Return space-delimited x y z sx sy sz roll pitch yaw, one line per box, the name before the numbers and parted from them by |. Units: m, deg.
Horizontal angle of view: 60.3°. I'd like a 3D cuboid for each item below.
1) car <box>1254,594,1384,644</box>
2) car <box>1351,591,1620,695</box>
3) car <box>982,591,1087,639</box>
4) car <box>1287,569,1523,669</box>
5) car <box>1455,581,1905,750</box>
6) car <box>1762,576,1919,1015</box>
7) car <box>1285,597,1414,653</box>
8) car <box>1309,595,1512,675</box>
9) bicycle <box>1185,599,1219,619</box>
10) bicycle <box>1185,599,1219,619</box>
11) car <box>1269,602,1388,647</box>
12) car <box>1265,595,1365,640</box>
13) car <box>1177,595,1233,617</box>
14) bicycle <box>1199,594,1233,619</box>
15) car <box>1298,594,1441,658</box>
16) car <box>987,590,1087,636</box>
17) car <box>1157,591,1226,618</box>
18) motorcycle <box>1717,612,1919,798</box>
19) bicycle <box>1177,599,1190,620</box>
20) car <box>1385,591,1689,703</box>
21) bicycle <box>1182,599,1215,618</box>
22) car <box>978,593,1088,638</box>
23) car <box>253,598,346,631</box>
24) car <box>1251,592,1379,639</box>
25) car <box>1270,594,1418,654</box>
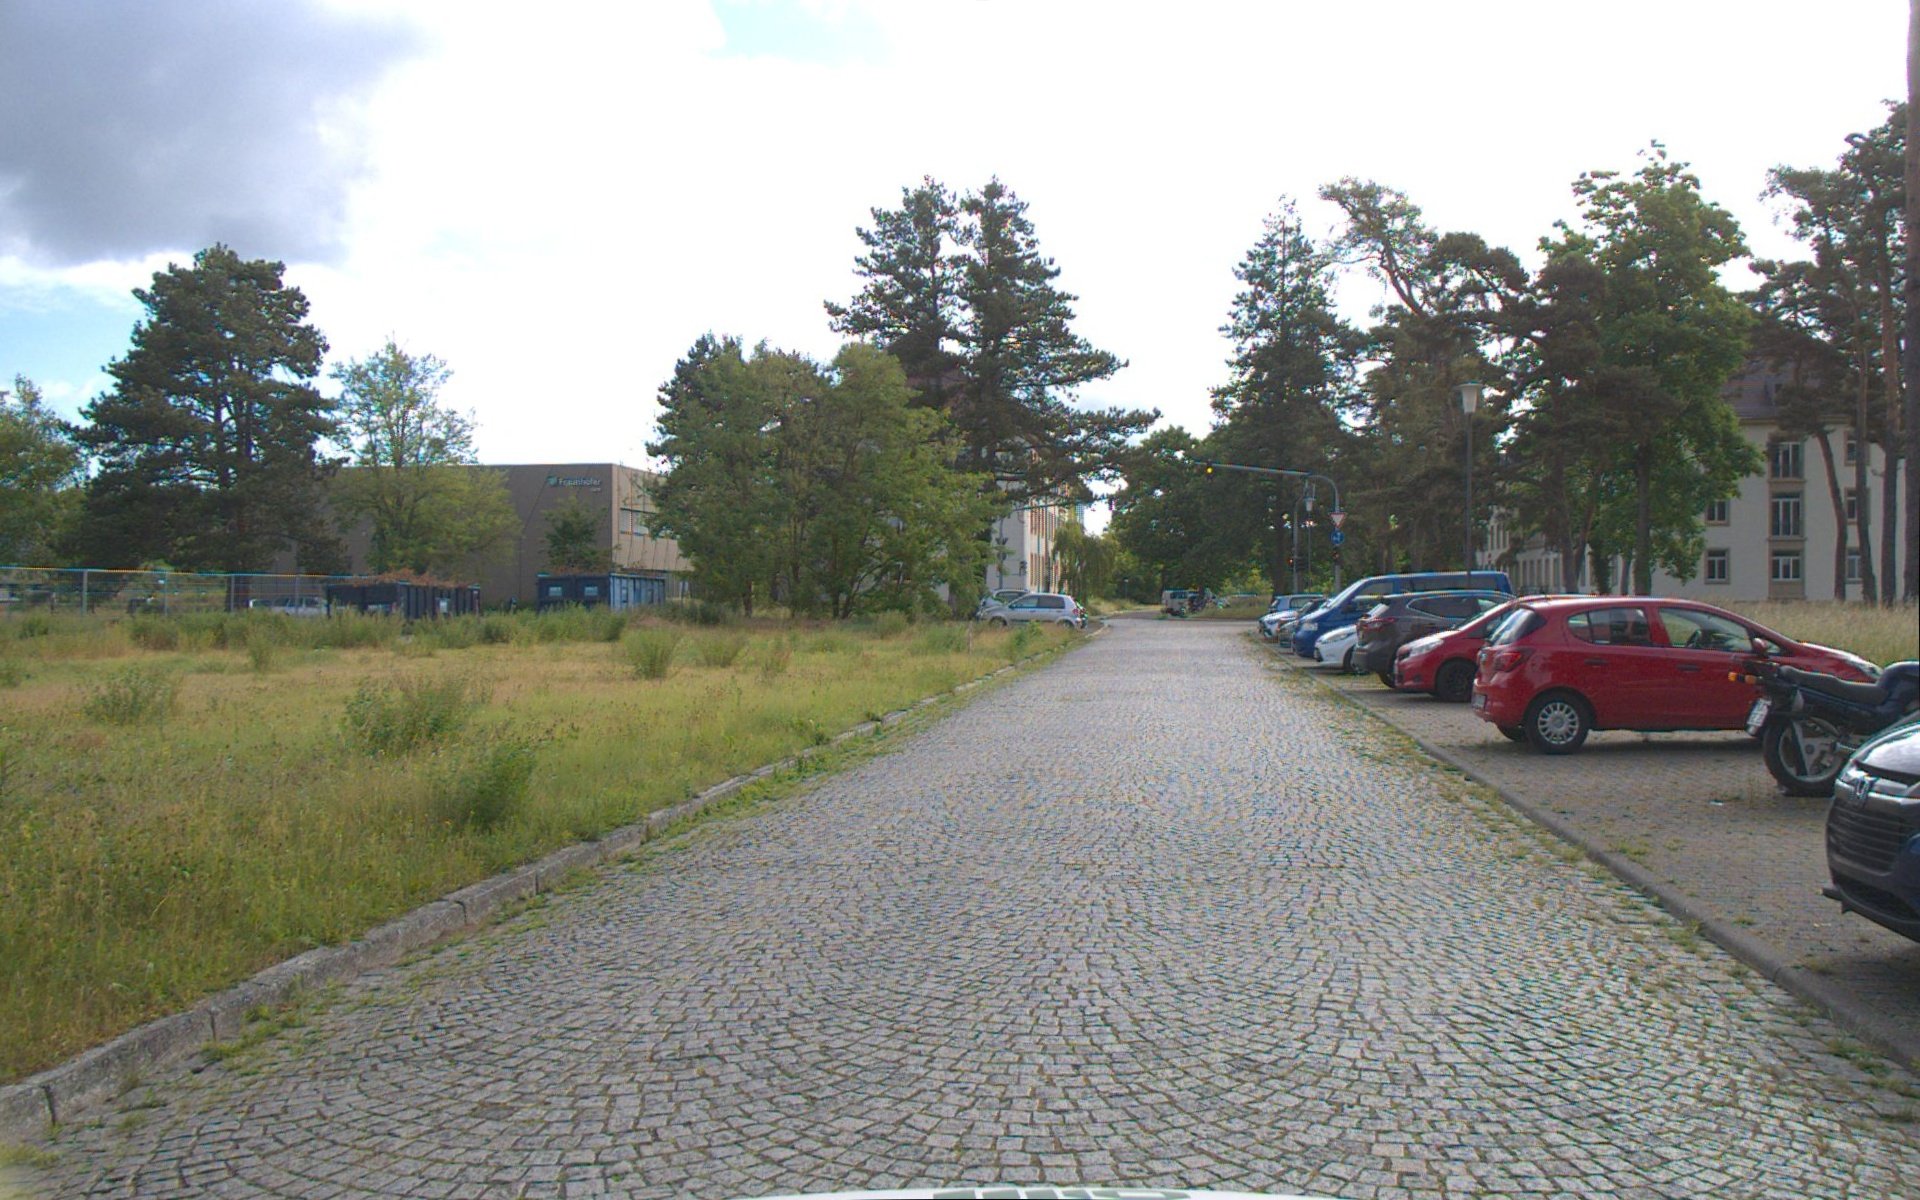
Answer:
car | 11.671 0.594 53.877 3.904 1.570 1.664 0 0 2
car | 8.379 0.662 26.652 3.866 1.608 1.763 0 0 6
car | 2.788 0.550 62.233 3.904 1.736 2.000 0 0 1
car | 9.500 0.392 35.597 4.681 2.075 1.739 0 0 5
car | 7.063 0.629 16.564 3.758 1.532 1.739 -1 0 6
car | 5.648 0.661 6.386 4.172 1.601 1.897 -2 0 7
car | 10.989 0.699 46.806 3.226 1.530 1.663 0 0 -3
car | 8.964 0.684 33.133 3.644 1.449 1.655 -2 0 5
bicycle | 15.841 0.560 108.220 2.116 1.290 0.812 0 0 1
bicycle | 15.914 0.566 108.804 2.116 1.290 0.812 0 0 1
car | 10.978 0.716 49.454 3.224 1.289 1.664 0 0 2
car | 12.689 0.620 59.187 3.318 1.570 1.391 0 0 2
car | 18.122 0.446 122.604 3.904 1.673 2.000 0 0 1
bicycle | 16.910 0.411 109.388 2.116 1.644 0.812 0 0 1
car | 10.086 0.633 40.876 3.222 1.531 1.665 0 0 5
car | 3.020 0.509 65.345 3.905 1.780 1.927 0 0 1
car | 17.612 0.329 125.982 4.949 2.049 1.999 0 0 -3
motorcycle | 6.779 0.745 12.057 2.217 1.297 0.606 -1 0 2
bicycle | 14.133 0.602 104.653 0.792 1.290 1.975 0 0 9
car | 8.289 0.657 24.067 3.902 1.545 1.739 0 0 8
bicycle | 15.842 0.576 110.039 2.116 1.290 0.812 0 0 1
car | 2.618 0.552 59.717 3.904 1.579 2.000 0 0 1
car | -32.756 0.725 82.064 3.902 1.580 1.810 0 0 7
car | 12.132 0.529 56.667 4.037 1.570 1.664 0 0 2
car | 10.159 0.613 43.916 3.526 1.533 1.663 0 0 -3
